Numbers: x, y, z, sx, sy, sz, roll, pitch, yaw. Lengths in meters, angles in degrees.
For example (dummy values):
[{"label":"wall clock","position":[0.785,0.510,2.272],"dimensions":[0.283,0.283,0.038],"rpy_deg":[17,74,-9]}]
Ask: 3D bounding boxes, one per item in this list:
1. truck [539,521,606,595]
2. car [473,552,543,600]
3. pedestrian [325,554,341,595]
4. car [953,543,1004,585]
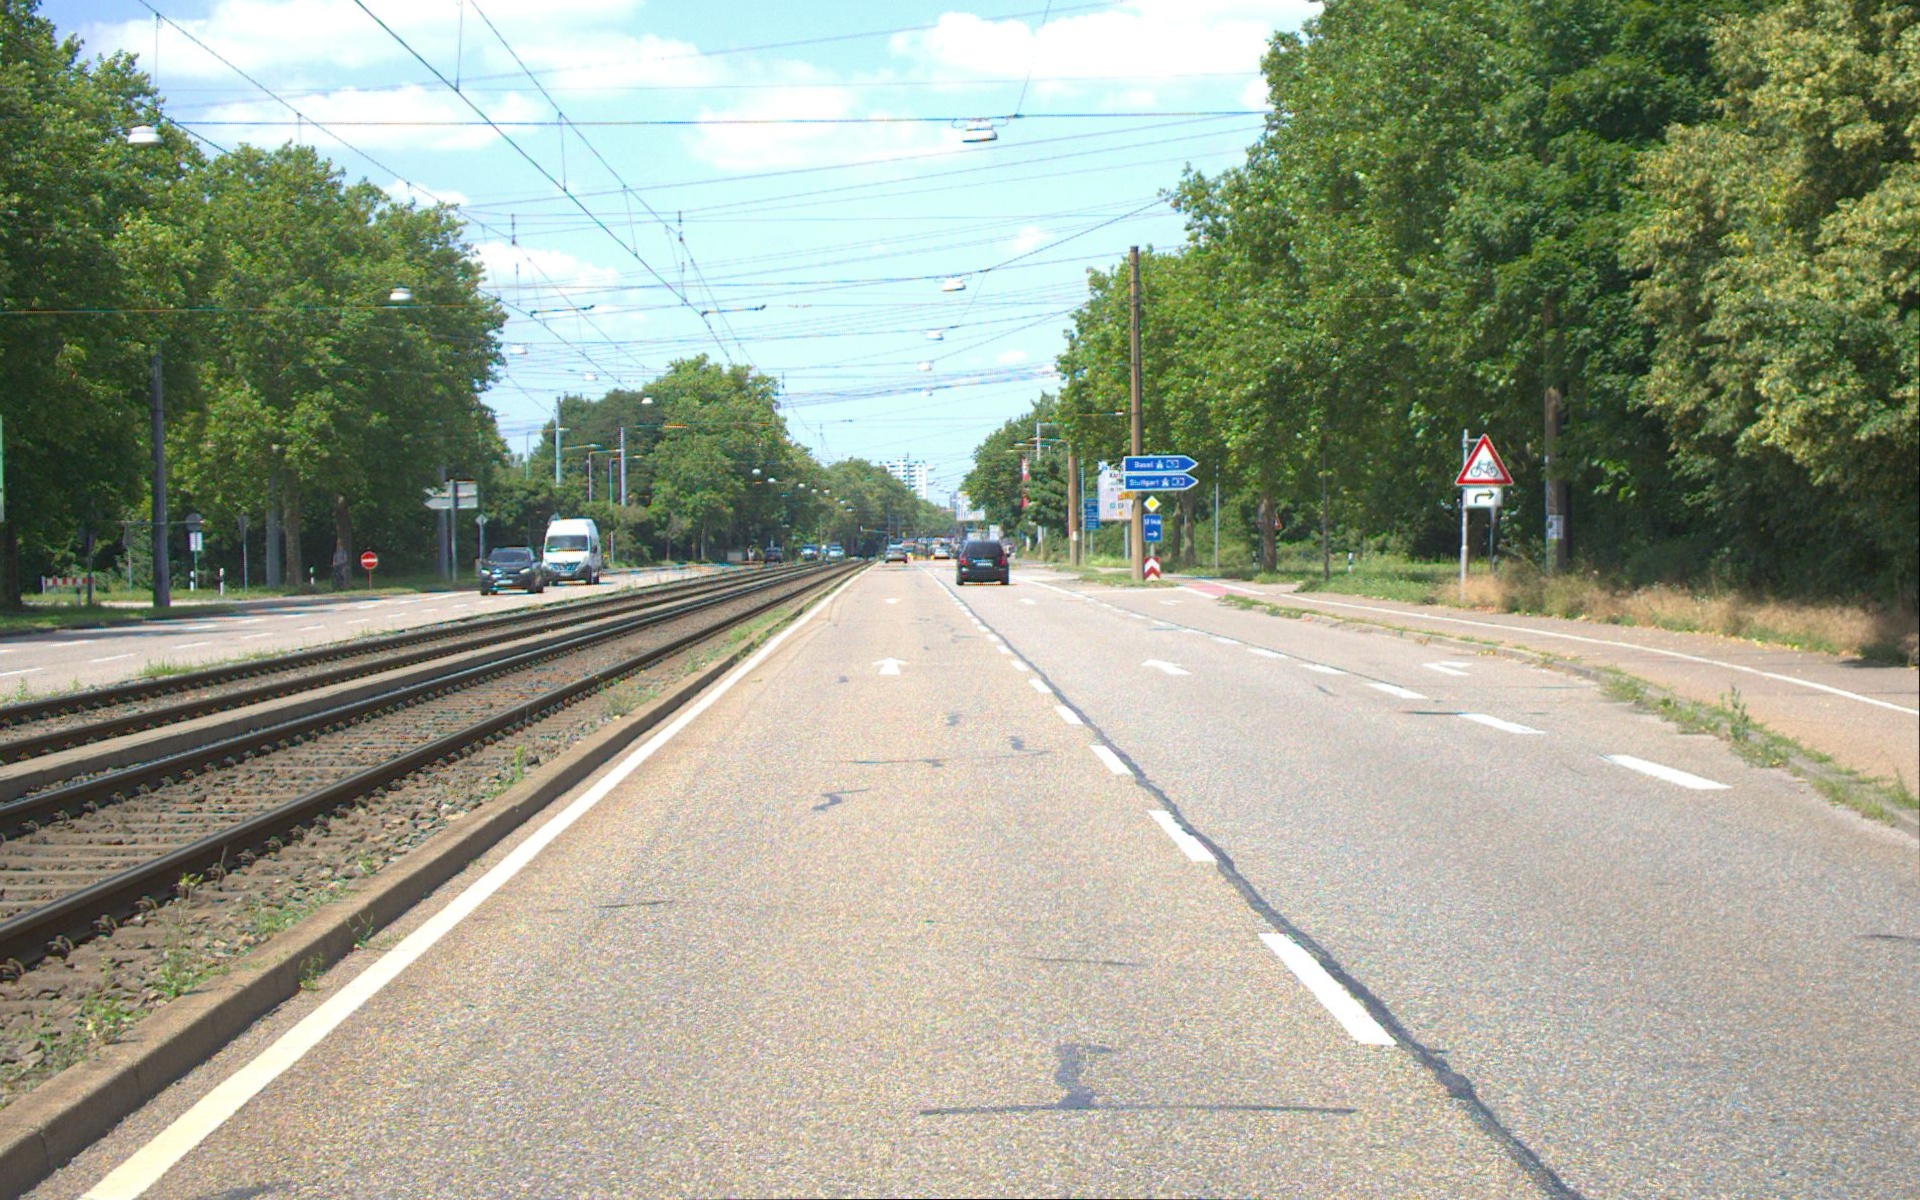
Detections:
[{"label":"truck","position":[-16.133,-1.797,143.525],"dimensions":[2.054,2.929,6.320],"rpy_deg":[-2,1,-1]},{"label":"car","position":[-15.441,-0.836,117.562],"dimensions":[1.817,1.509,4.428],"rpy_deg":[-2,1,-1]},{"label":"pedestrian","position":[-24.133,-0.977,132.329],"dimensions":[0.513,1.546,0.704],"rpy_deg":[-2,1,-6]},{"label":"car","position":[0.642,-1.263,118.861],"dimensions":[1.586,1.338,3.273],"rpy_deg":[-2,2,-2]}]
